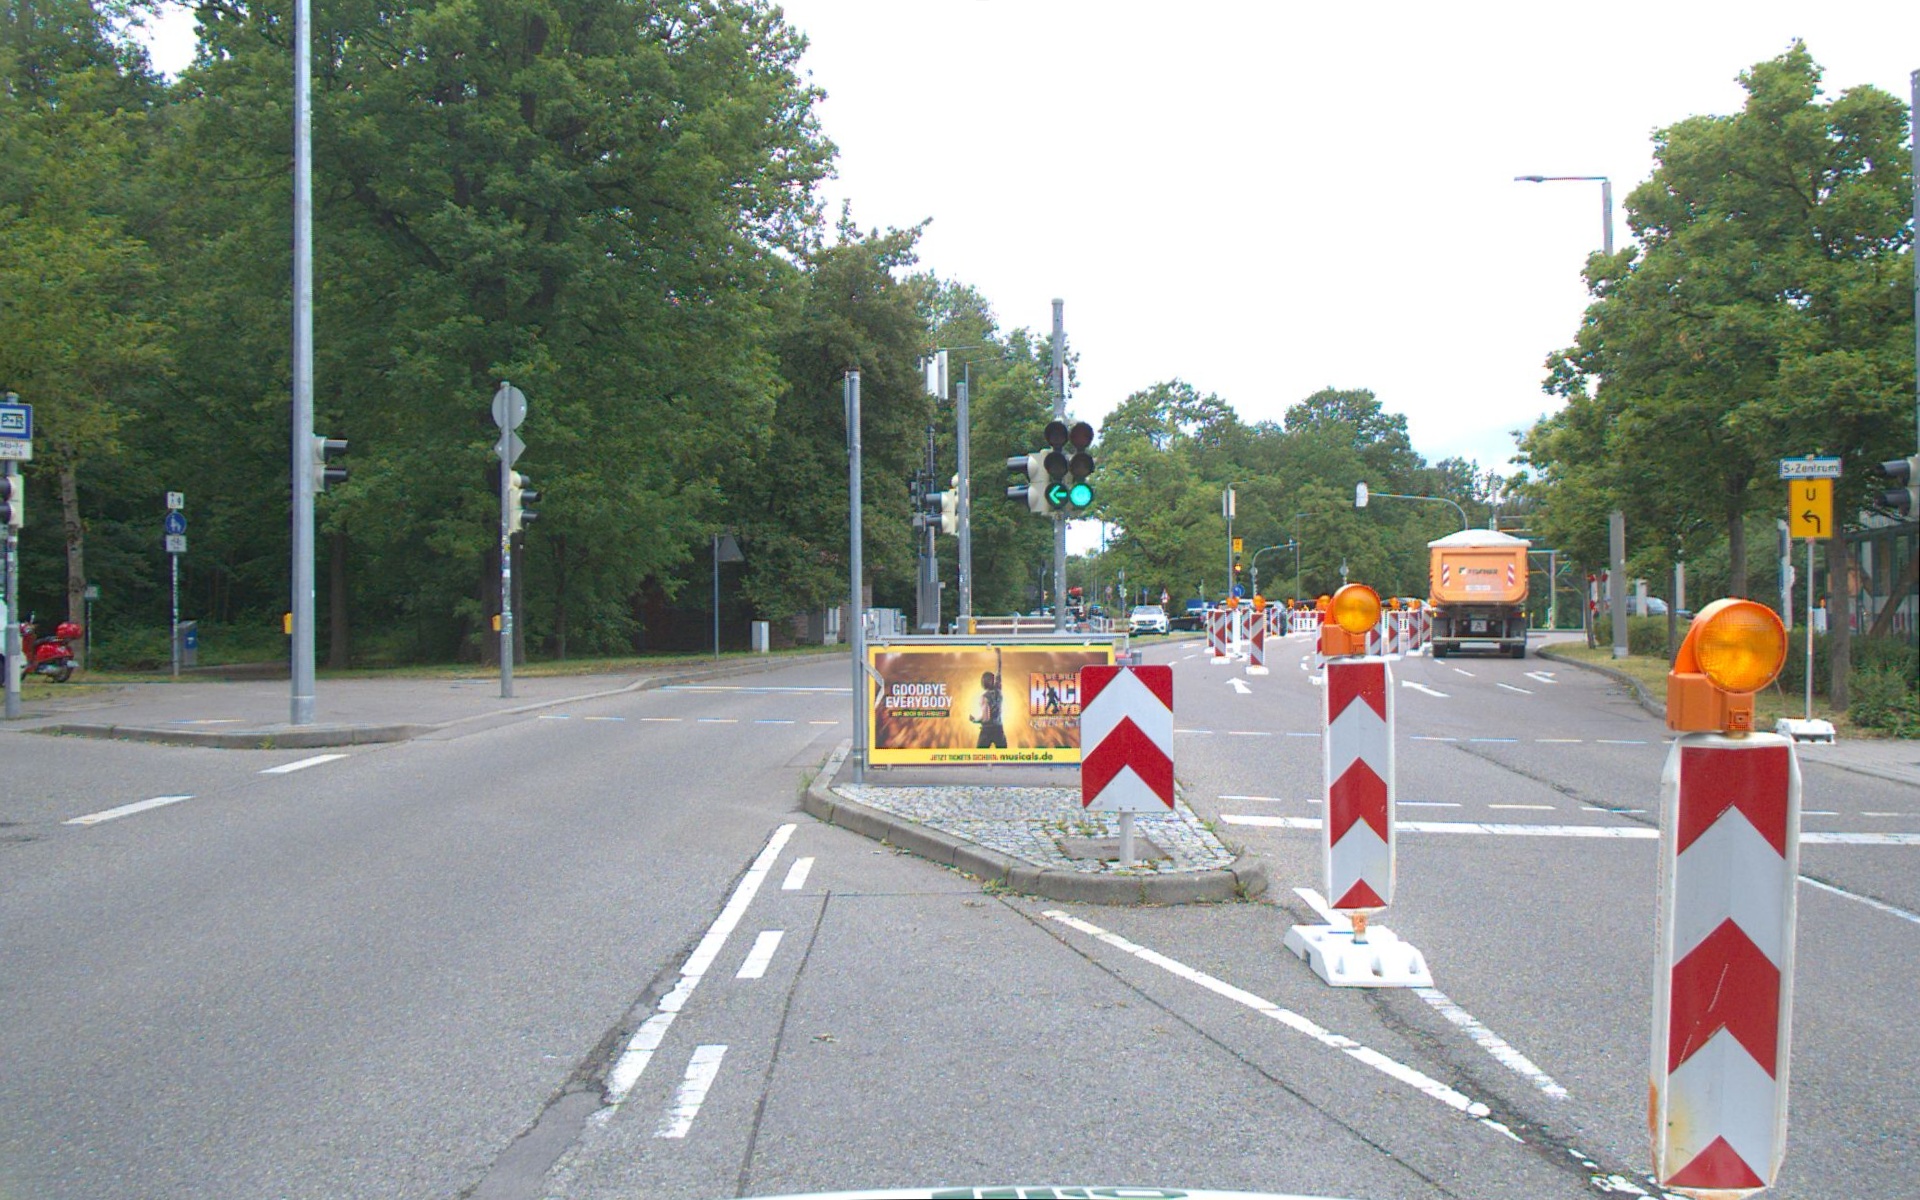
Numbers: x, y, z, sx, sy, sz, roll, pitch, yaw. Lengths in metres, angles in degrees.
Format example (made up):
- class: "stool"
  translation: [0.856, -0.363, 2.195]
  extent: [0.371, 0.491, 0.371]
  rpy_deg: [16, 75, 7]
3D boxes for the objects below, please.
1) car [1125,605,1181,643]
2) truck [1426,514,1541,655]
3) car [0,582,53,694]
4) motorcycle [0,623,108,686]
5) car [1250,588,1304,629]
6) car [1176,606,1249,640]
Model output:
- class: "car"
  translation: [9.524, 1.182, 81.402]
  extent: [1.951, 1.780, 4.581]
  rpy_deg: [1, -1, 17]
- class: "truck"
  translation: [14.846, -0.424, 46.544]
  extent: [2.799, 3.576, 8.250]
  rpy_deg: [-1, 0, 19]
- class: "car"
  translation: [-16.482, 0.649, 24.887]
  extent: [2.118, 1.723, 4.526]
  rpy_deg: [-2, 0, 30]
- class: "motorcycle"
  translation: [-17.424, 1.040, 31.813]
  extent: [1.963, 1.181, 0.677]
  rpy_deg: [-1, 0, 18]
- class: "car"
  translation: [14.102, 0.390, 73.458]
  extent: [1.759, 1.769, 3.703]
  rpy_deg: [1, -1, 20]
- class: "car"
  translation: [15.013, 1.354, 98.427]
  extent: [1.984, 1.915, 3.937]
  rpy_deg: [2, -1, -43]
